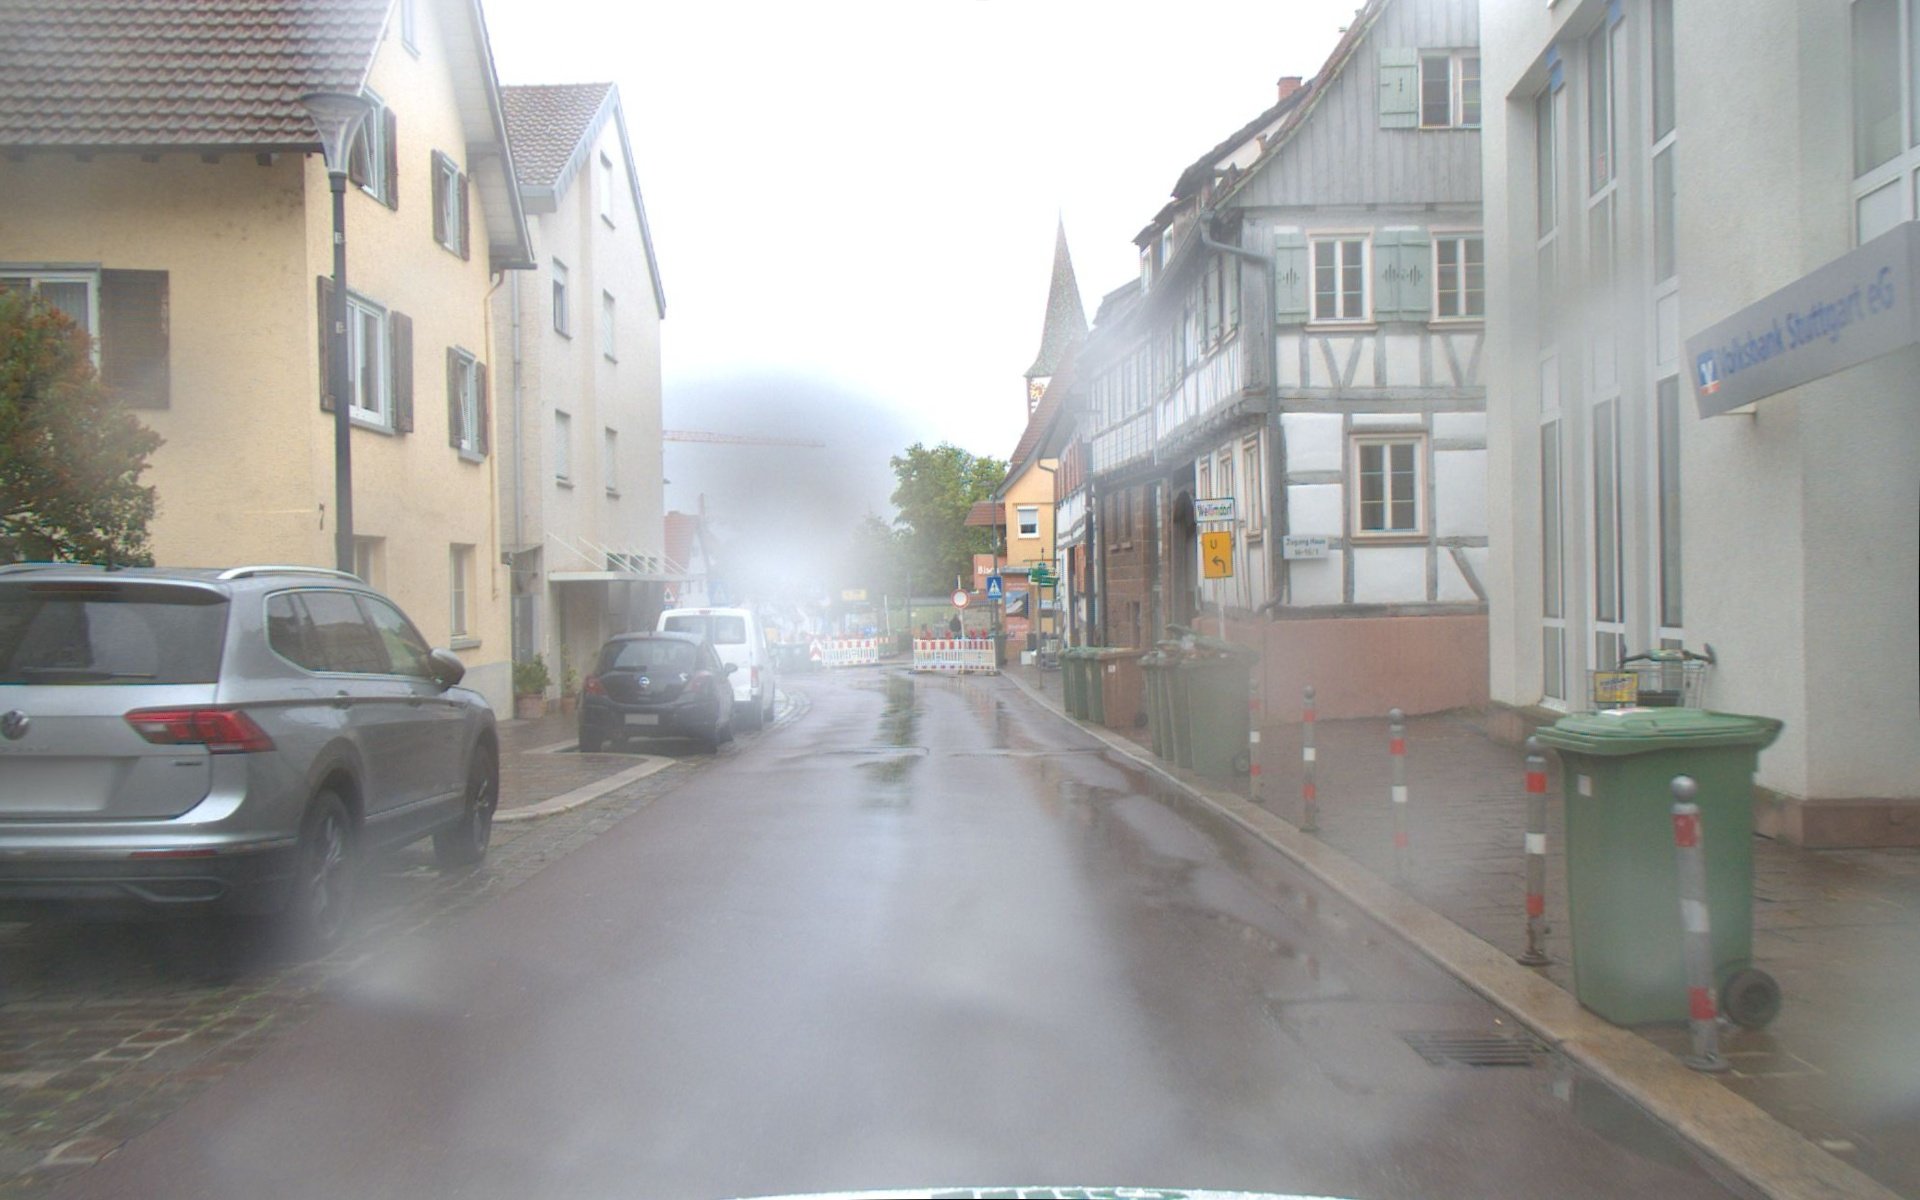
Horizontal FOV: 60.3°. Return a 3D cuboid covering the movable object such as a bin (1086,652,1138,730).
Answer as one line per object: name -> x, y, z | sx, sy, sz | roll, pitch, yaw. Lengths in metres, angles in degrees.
movable object such as a bin -> 2.240, 1.335, 24.416 | 0.656, 1.100, 0.587 | -2, -2, -3

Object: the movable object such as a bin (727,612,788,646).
movable object such as a bin -> -12.518, 1.820, 102.630 | 3.333, 2.049, 3.478 | -1, -1, -1

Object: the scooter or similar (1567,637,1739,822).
scooter or similar -> 4.673, 0.844, 11.242 | 0.651, 1.166, 1.447 | -1, -1, 5

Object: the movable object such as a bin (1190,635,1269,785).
movable object such as a bin -> 2.422, 0.977, 14.931 | 0.624, 1.313, 0.632 | -1, -1, 3

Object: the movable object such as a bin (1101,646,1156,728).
movable object such as a bin -> 2.352, 1.203, 23.135 | 0.665, 1.116, 0.650 | 0, -1, -5

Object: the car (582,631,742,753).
car -> -3.752, 1.121, 21.340 | 1.648, 1.413, 3.821 | -1, -1, -5

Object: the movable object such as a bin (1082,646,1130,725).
movable object such as a bin -> 2.203, 1.295, 25.066 | 0.625, 1.167, 0.631 | -1, -1, -4

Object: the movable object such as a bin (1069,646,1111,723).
movable object such as a bin -> 2.024, 1.302, 25.732 | 0.624, 1.167, 0.604 | -1, -1, 3

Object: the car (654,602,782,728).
car -> -3.871, 1.024, 27.081 | 1.689, 1.857, 4.424 | -1, -1, -4

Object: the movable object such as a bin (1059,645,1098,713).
movable object such as a bin -> 2.050, 1.362, 28.697 | 0.597, 1.147, 0.599 | -1, -1, -2

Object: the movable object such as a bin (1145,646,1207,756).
movable object such as a bin -> 2.324, 1.081, 17.852 | 0.603, 1.151, 0.632 | -1, -1, 3

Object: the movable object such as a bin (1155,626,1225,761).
movable object such as a bin -> 2.285, 0.922, 16.479 | 0.624, 1.313, 0.632 | -1, -1, 3

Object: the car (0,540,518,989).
car -> -3.528, 0.640, 8.120 | 1.744, 1.596, 4.404 | -1, -1, -3

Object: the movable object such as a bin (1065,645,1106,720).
movable object such as a bin -> 2.002, 1.308, 26.351 | 0.624, 1.167, 0.580 | -1, -1, 3

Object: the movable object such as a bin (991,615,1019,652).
movable object such as a bin -> 2.003, 1.497, 74.025 | 1.043, 1.539, 1.243 | -4, -1, 6

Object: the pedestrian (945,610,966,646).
pedestrian -> -0.225, 1.400, 83.475 | 0.971, 1.790, 0.850 | -1, -1, -8

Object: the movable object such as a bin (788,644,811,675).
movable object such as a bin -> -5.569, 2.060, 57.462 | 0.533, 1.051, 0.533 | -4, -3, 31

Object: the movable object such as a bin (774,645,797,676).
movable object such as a bin -> -6.099, 2.104, 57.788 | 0.530, 1.055, 0.571 | -4, -3, 31

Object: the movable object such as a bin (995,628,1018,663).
movable object such as a bin -> 1.581, 1.530, 55.923 | 0.666, 1.084, 0.539 | -3, 4, -10

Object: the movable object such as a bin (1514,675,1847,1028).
movable object such as a bin -> 2.579, 0.864, 6.019 | 0.788, 1.151, 0.862 | -1, -1, -3

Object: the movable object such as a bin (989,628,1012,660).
movable object such as a bin -> 1.383, 1.502, 56.537 | 0.603, 1.084, 0.540 | -3, -2, 15

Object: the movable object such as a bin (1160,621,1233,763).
movable object such as a bin -> 2.242, 0.864, 15.741 | 0.624, 1.313, 0.632 | -1, -1, 3

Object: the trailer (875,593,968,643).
trailer -> -2.445, 1.146, 104.629 | 5.670, 2.999, 1.997 | -1, -1, -7

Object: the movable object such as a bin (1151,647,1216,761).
movable object such as a bin -> 2.313, 1.073, 17.182 | 0.603, 1.151, 0.632 | -1, -1, 3
